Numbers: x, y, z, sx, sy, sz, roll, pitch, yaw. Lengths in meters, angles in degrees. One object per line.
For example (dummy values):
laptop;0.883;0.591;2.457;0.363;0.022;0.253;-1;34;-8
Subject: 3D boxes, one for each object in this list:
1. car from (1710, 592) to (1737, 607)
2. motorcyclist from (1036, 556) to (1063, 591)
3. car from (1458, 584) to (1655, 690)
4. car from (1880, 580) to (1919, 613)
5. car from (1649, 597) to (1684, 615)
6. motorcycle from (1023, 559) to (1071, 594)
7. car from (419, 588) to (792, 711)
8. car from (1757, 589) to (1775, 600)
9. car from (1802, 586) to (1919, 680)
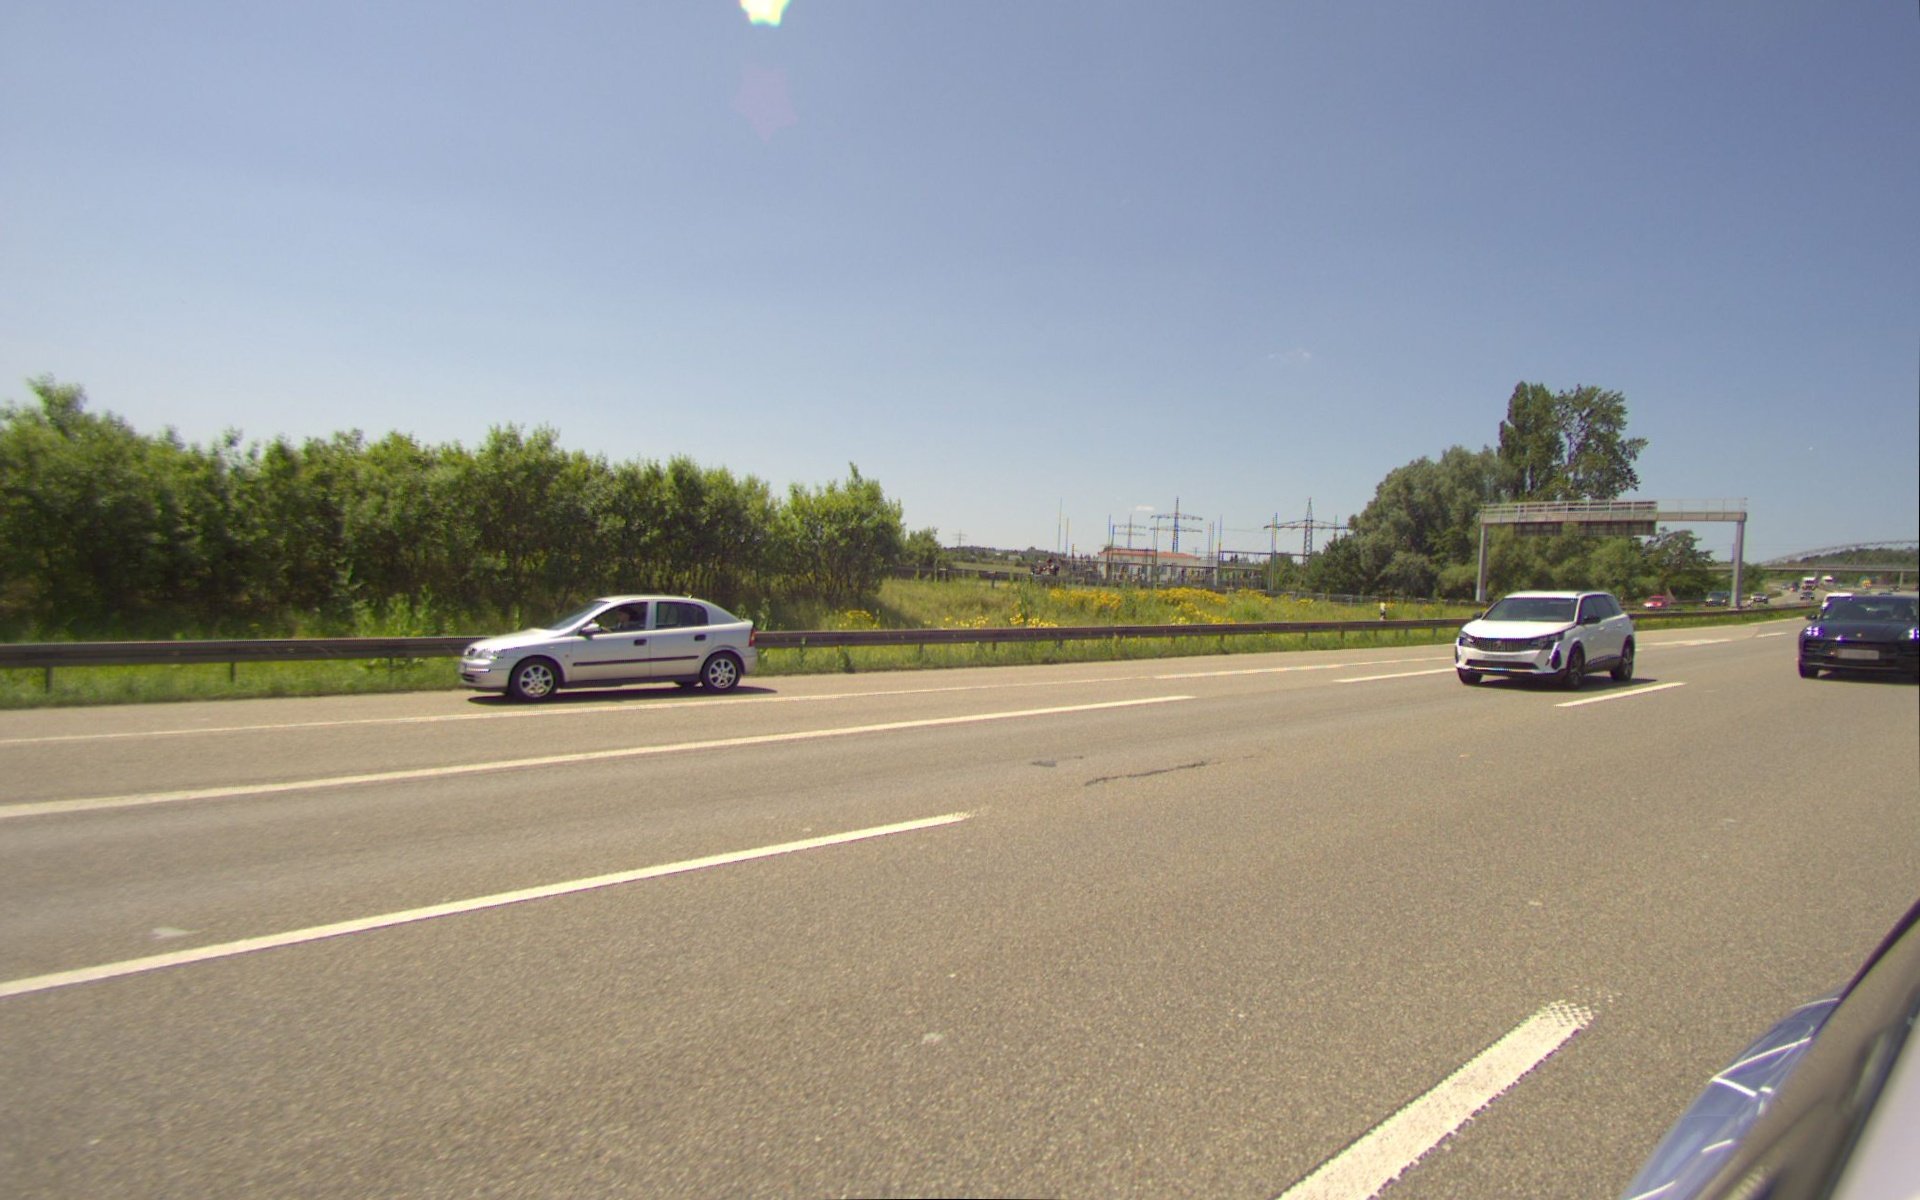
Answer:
car;87.288;-0.034;115.681;4.056;1.594;1.703;-1;2;-41
motorcyclist;3.573;-1.048;40.323;0.861;1.383;0.671;-1;1;-32
car;10.706;0.544;18.016;4.541;1.611;1.746;-1;2;-42
car;57.588;-0.256;61.805;4.224;1.943;1.806;-1;2;-44
car;65.354;0.542;93.659;4.056;1.594;1.703;-1;2;-41
motorcycle;3.457;-0.932;40.275;1.833;1.383;0.763;-1;1;-31
car;-4.971;0.578;14.534;4.756;1.455;1.791;-1;1;-36
car;115.708;-0.784;145.250;1.700;1.594;4.063;1;2;44
car;17.988;0.558;19.631;4.060;1.615;1.930;-1;2;-41
